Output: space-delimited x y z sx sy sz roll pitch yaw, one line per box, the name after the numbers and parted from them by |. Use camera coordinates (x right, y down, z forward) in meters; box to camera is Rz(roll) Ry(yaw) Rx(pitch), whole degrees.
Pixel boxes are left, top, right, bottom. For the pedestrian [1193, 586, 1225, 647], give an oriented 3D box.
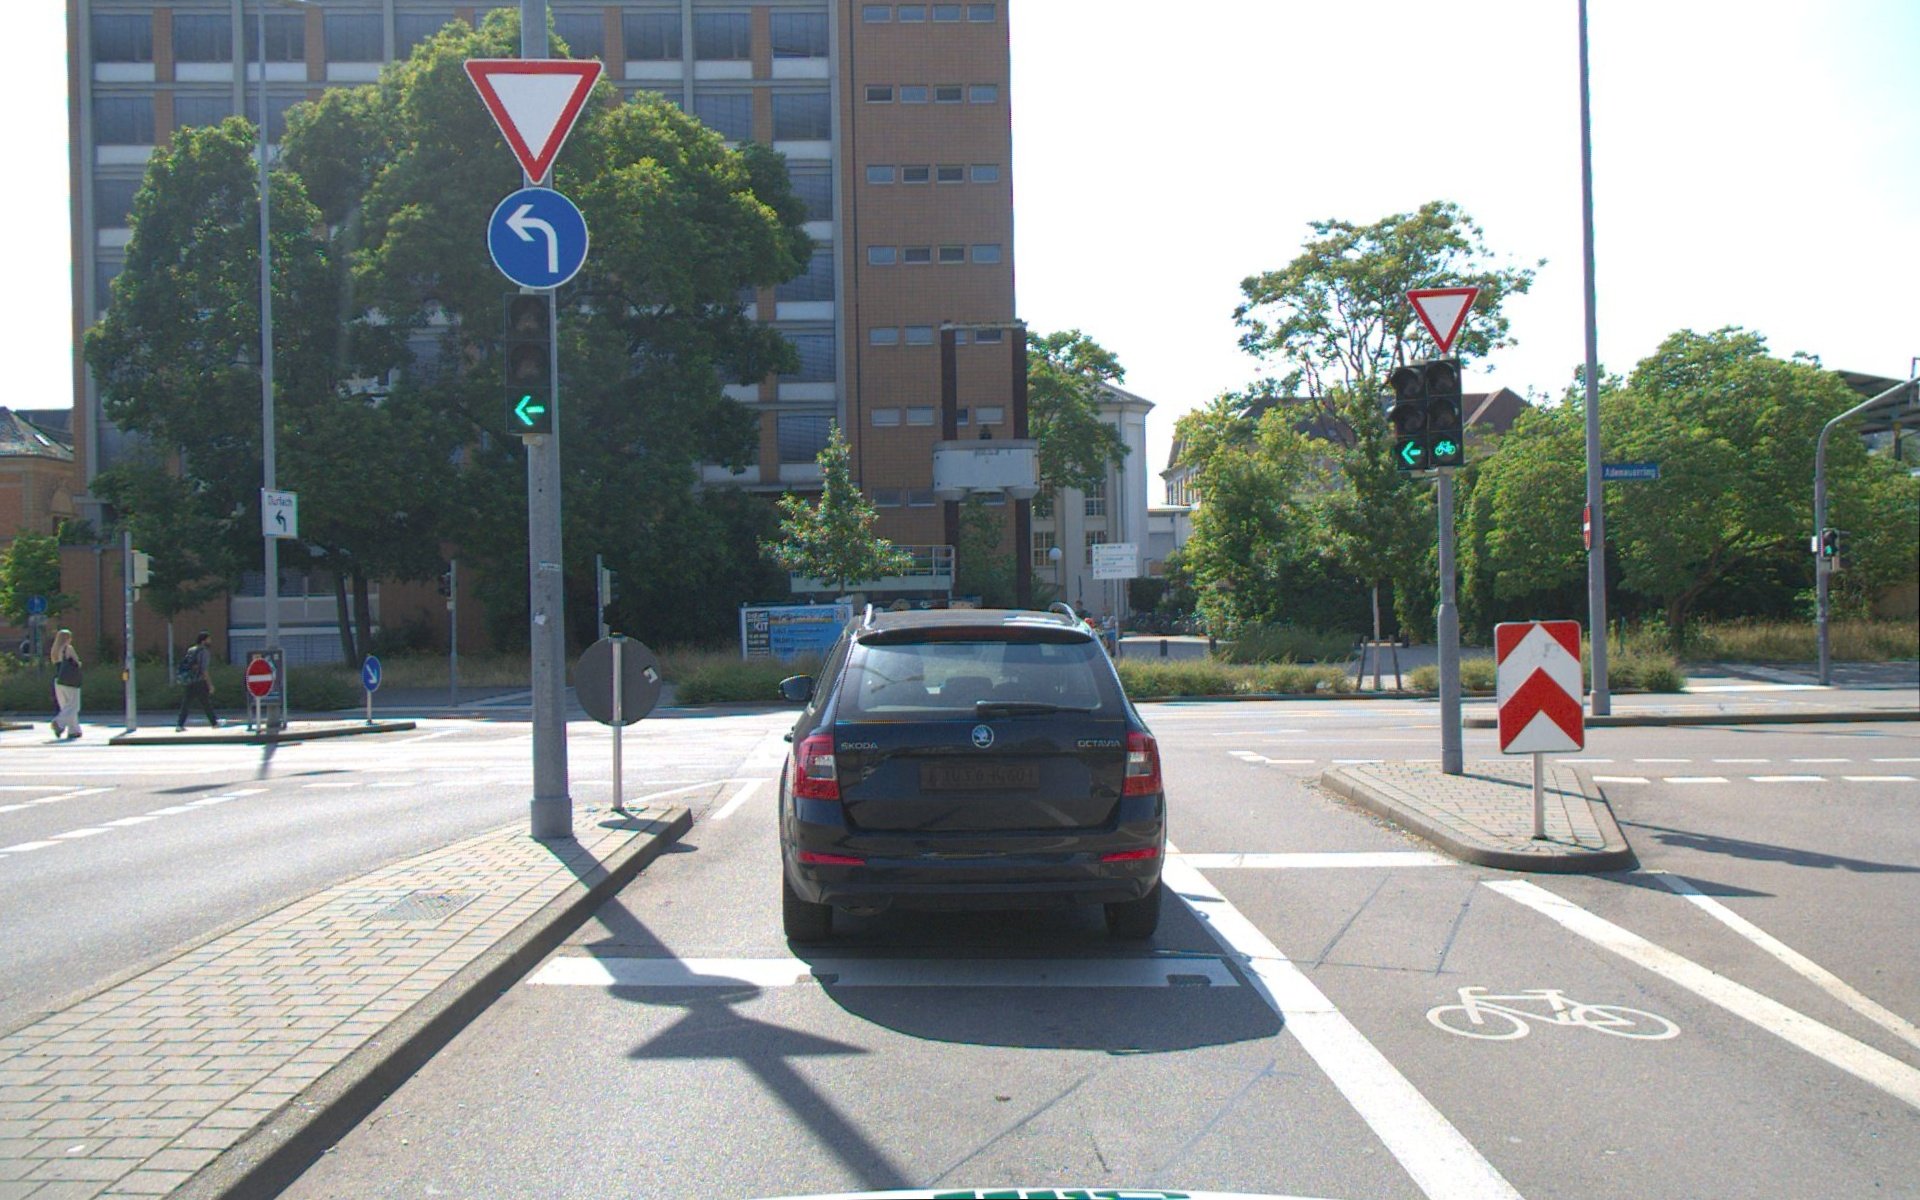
7.962 0.531 52.874 0.778 1.907 0.639 -3 0 23 | pedestrian

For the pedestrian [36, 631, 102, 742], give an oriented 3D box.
-14.784 1.431 27.474 0.724 1.783 1.105 -2 -3 -17 | pedestrian

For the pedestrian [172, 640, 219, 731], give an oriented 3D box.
-13.192 1.469 28.565 0.621 1.518 0.614 -2 0 -17 | pedestrian

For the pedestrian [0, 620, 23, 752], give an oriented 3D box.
-15.143 1.341 25.990 0.610 2.049 0.678 2 -2 -38 | pedestrian

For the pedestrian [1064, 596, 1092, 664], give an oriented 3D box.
3.361 0.839 47.029 0.584 1.907 0.639 -2 -1 22 | pedestrian

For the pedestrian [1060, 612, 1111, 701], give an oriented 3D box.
2.137 0.952 28.182 0.573 1.492 1.010 0 -1 -14 | pedestrian

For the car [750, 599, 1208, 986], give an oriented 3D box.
0.066 0.745 8.231 1.743 1.468 3.817 0 0 0 | car

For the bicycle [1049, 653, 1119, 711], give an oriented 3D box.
2.098 1.396 28.291 0.586 0.948 2.020 0 -2 -14 | bicycle

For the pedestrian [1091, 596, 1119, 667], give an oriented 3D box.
4.038 0.872 46.136 0.624 1.907 0.796 -3 0 -1 | pedestrian
